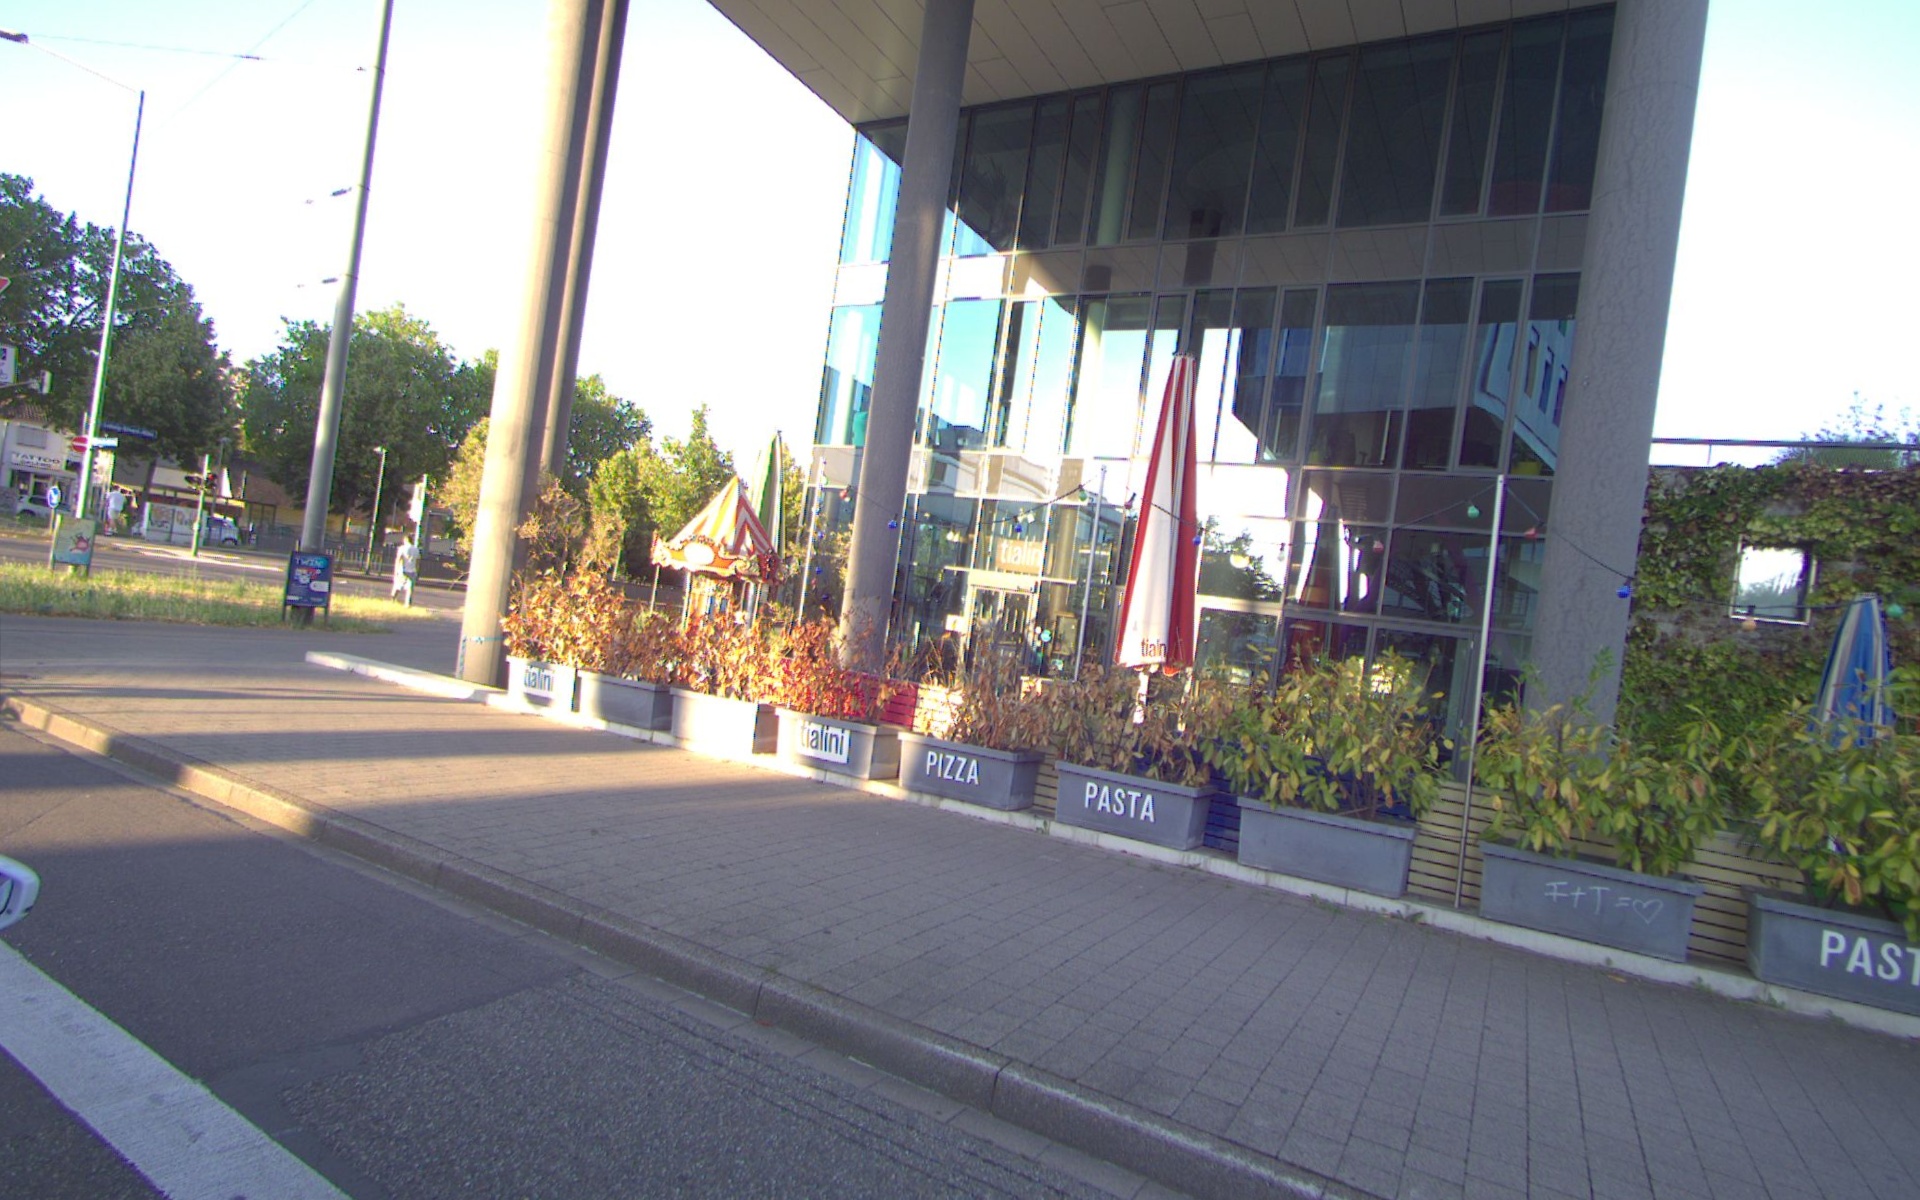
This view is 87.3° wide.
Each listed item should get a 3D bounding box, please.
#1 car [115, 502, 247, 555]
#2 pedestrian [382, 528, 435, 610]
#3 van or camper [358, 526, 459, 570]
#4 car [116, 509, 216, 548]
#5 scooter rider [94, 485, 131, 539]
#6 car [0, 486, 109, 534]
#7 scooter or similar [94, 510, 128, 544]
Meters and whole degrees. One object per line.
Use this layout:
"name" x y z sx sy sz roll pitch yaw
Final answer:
"car" -37.387 -3.399 48.431 1.829 1.748 4.547 7 -2 27
"pedestrian" -13.164 -0.739 24.014 0.759 1.812 0.793 8 -1 -41
"van or camper" -43.967 -4.122 80.425 2.229 2.438 6.569 7 -2 36
"car" -47.779 -4.288 60.628 1.968 1.595 4.236 7 -2 34
"scooter rider" -31.694 -3.301 37.628 0.658 1.876 0.703 7 -1 31
"car" -50.551 -4.980 56.070 1.968 1.868 4.236 7 -2 34
"scooter or similar" -31.816 -2.733 37.694 1.222 1.103 0.511 7 -1 32
